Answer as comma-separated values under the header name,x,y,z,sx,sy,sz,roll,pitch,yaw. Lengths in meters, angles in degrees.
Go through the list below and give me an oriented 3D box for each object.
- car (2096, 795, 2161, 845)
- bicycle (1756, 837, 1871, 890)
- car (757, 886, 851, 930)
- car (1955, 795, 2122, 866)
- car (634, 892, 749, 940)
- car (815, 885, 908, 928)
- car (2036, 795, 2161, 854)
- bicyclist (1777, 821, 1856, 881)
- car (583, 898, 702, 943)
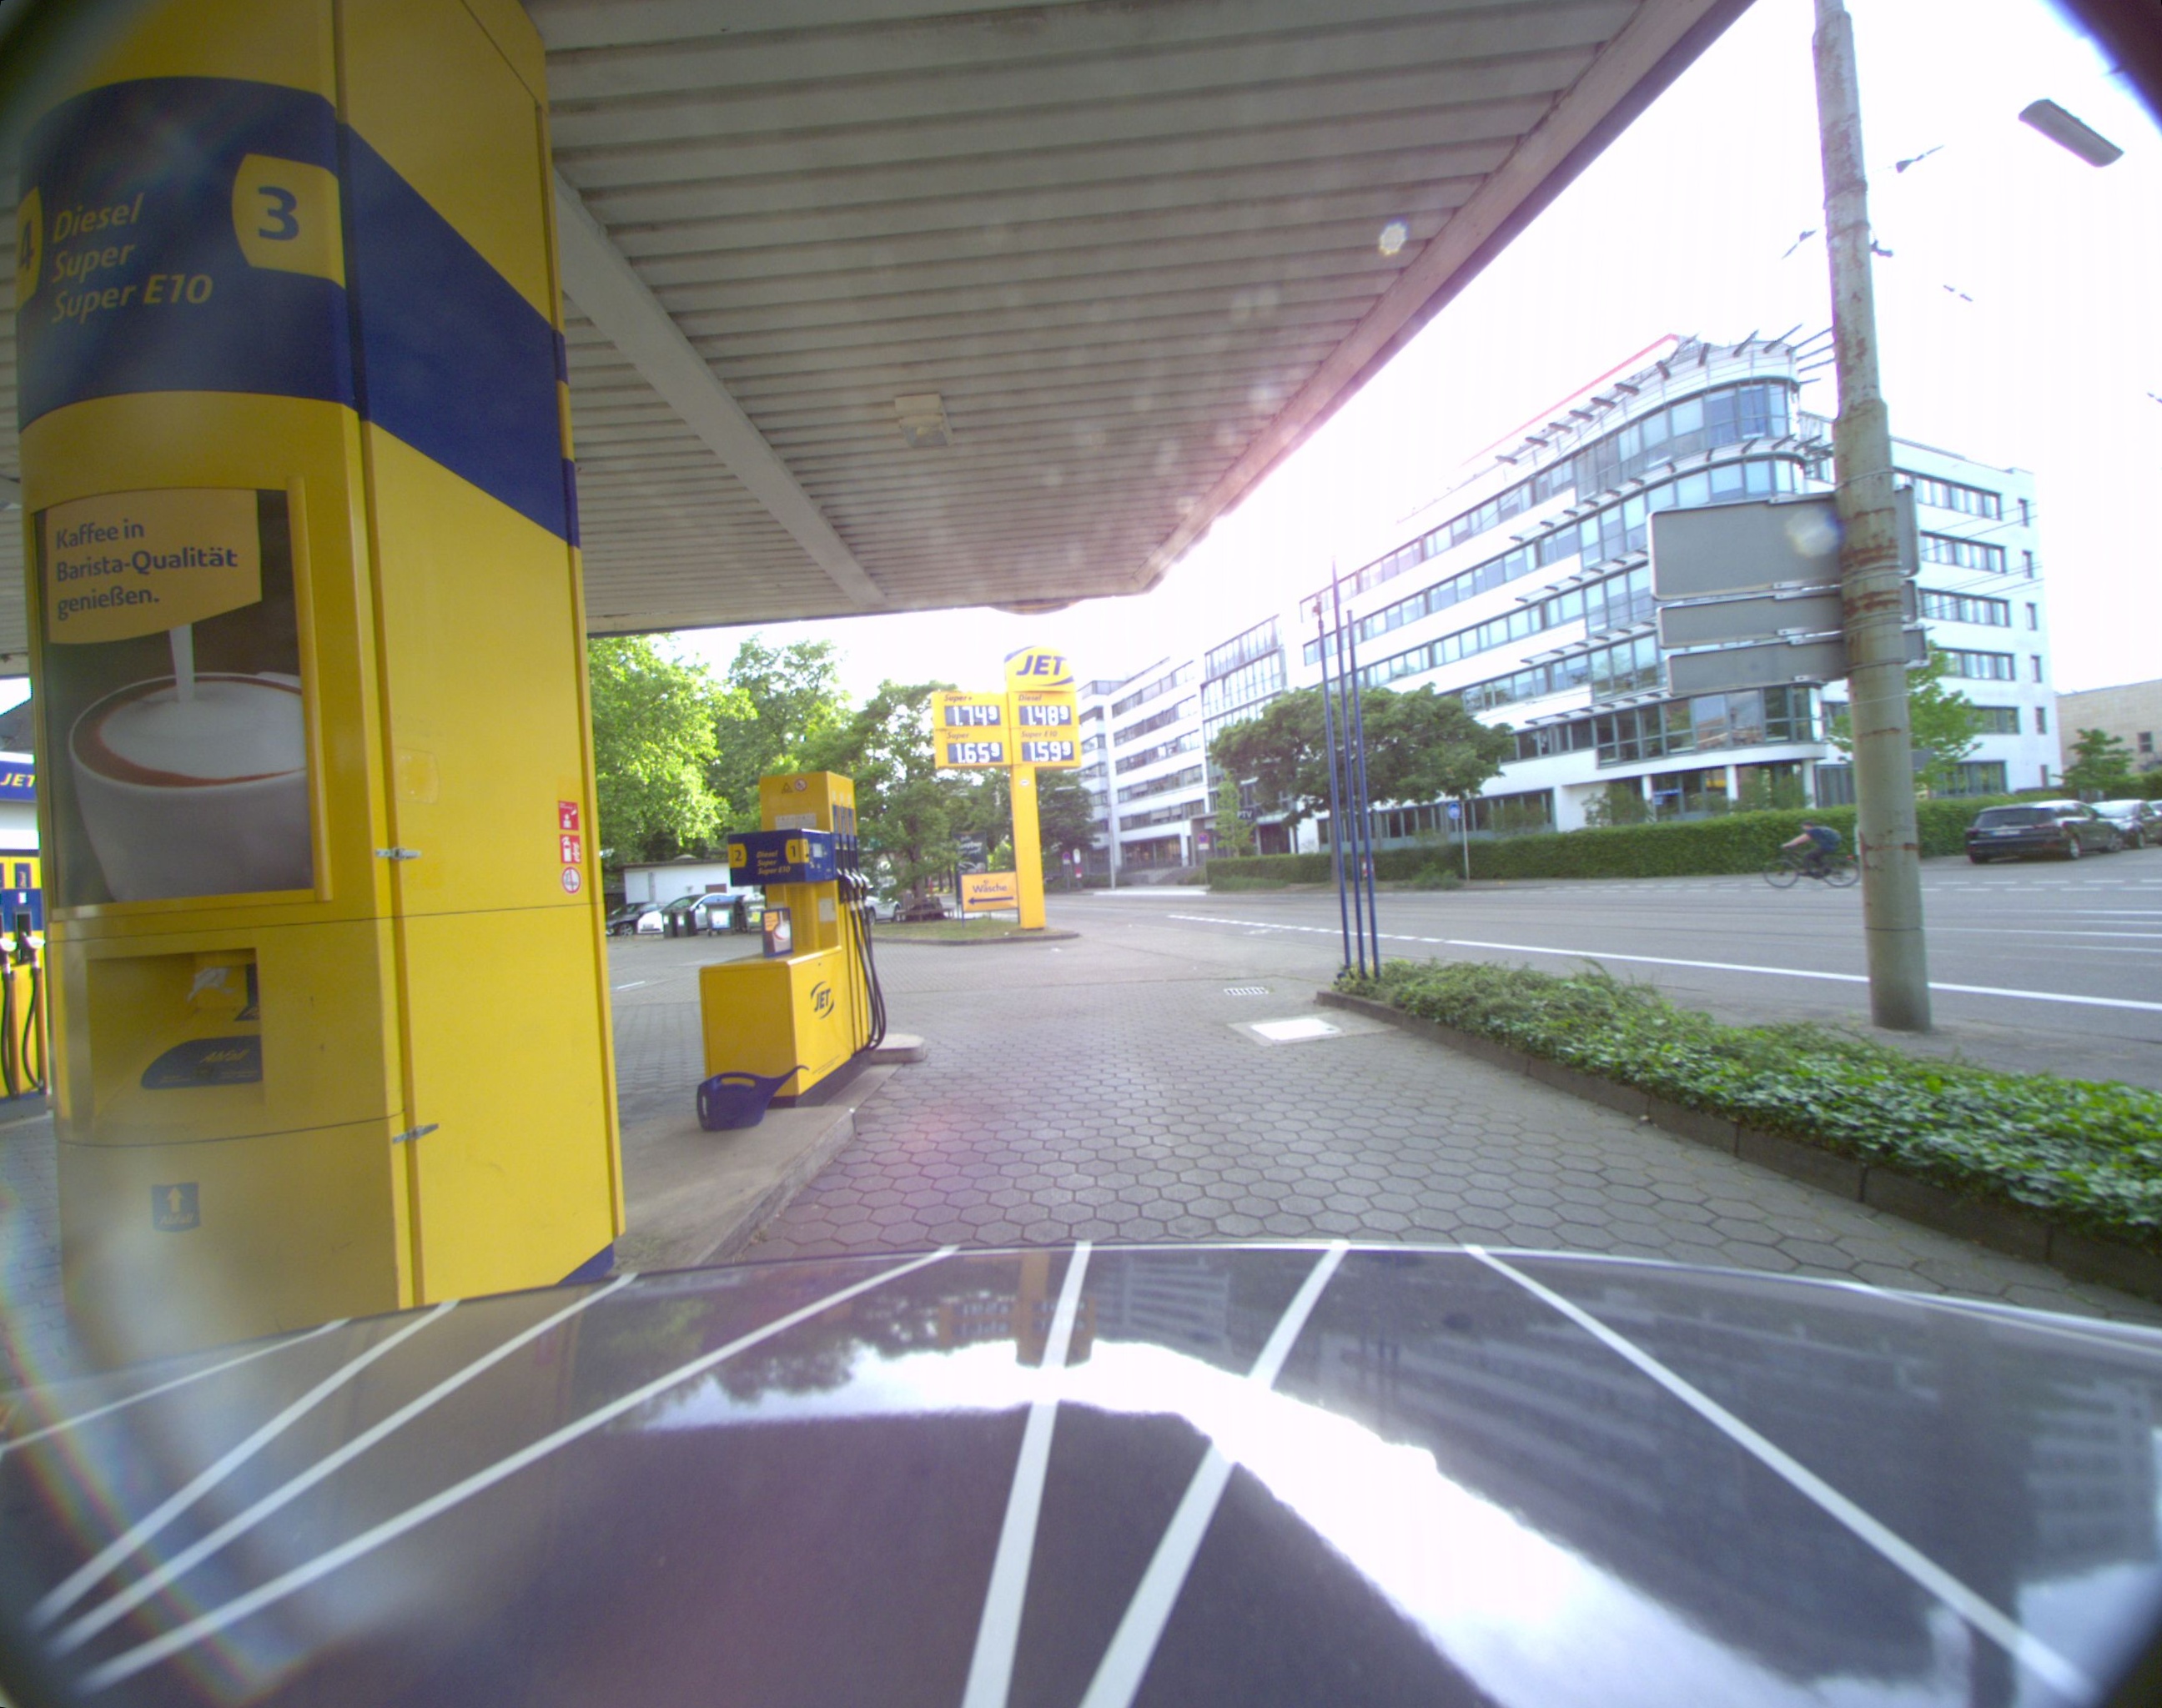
name,x,y,z,sx,sy,sz,roll,pitch,yaw
car,37.113,-1.255,26.016,4.201,1.568,1.820,-4,-1,-24
bicycle,18.313,0.252,19.038,0.792,1.231,1.879,-3,-1,-27
car,-11.738,2.256,32.468,1.823,1.575,4.200,-4,-2,10
car,27.426,-0.671,21.758,4.397,1.678,1.820,-4,-1,-24
car,-15.382,2.404,30.257,1.823,1.575,4.200,-4,-2,10
car,-8.649,2.039,30.381,1.823,1.449,4.200,-4,-2,10
car,32.584,-0.961,24.068,4.201,1.568,1.820,-4,-1,-24
bicyclist,18.337,-0.063,18.954,0.792,1.442,1.174,-3,0,-27
car,-17.526,2.622,30.612,1.823,1.426,4.200,-4,-2,10
